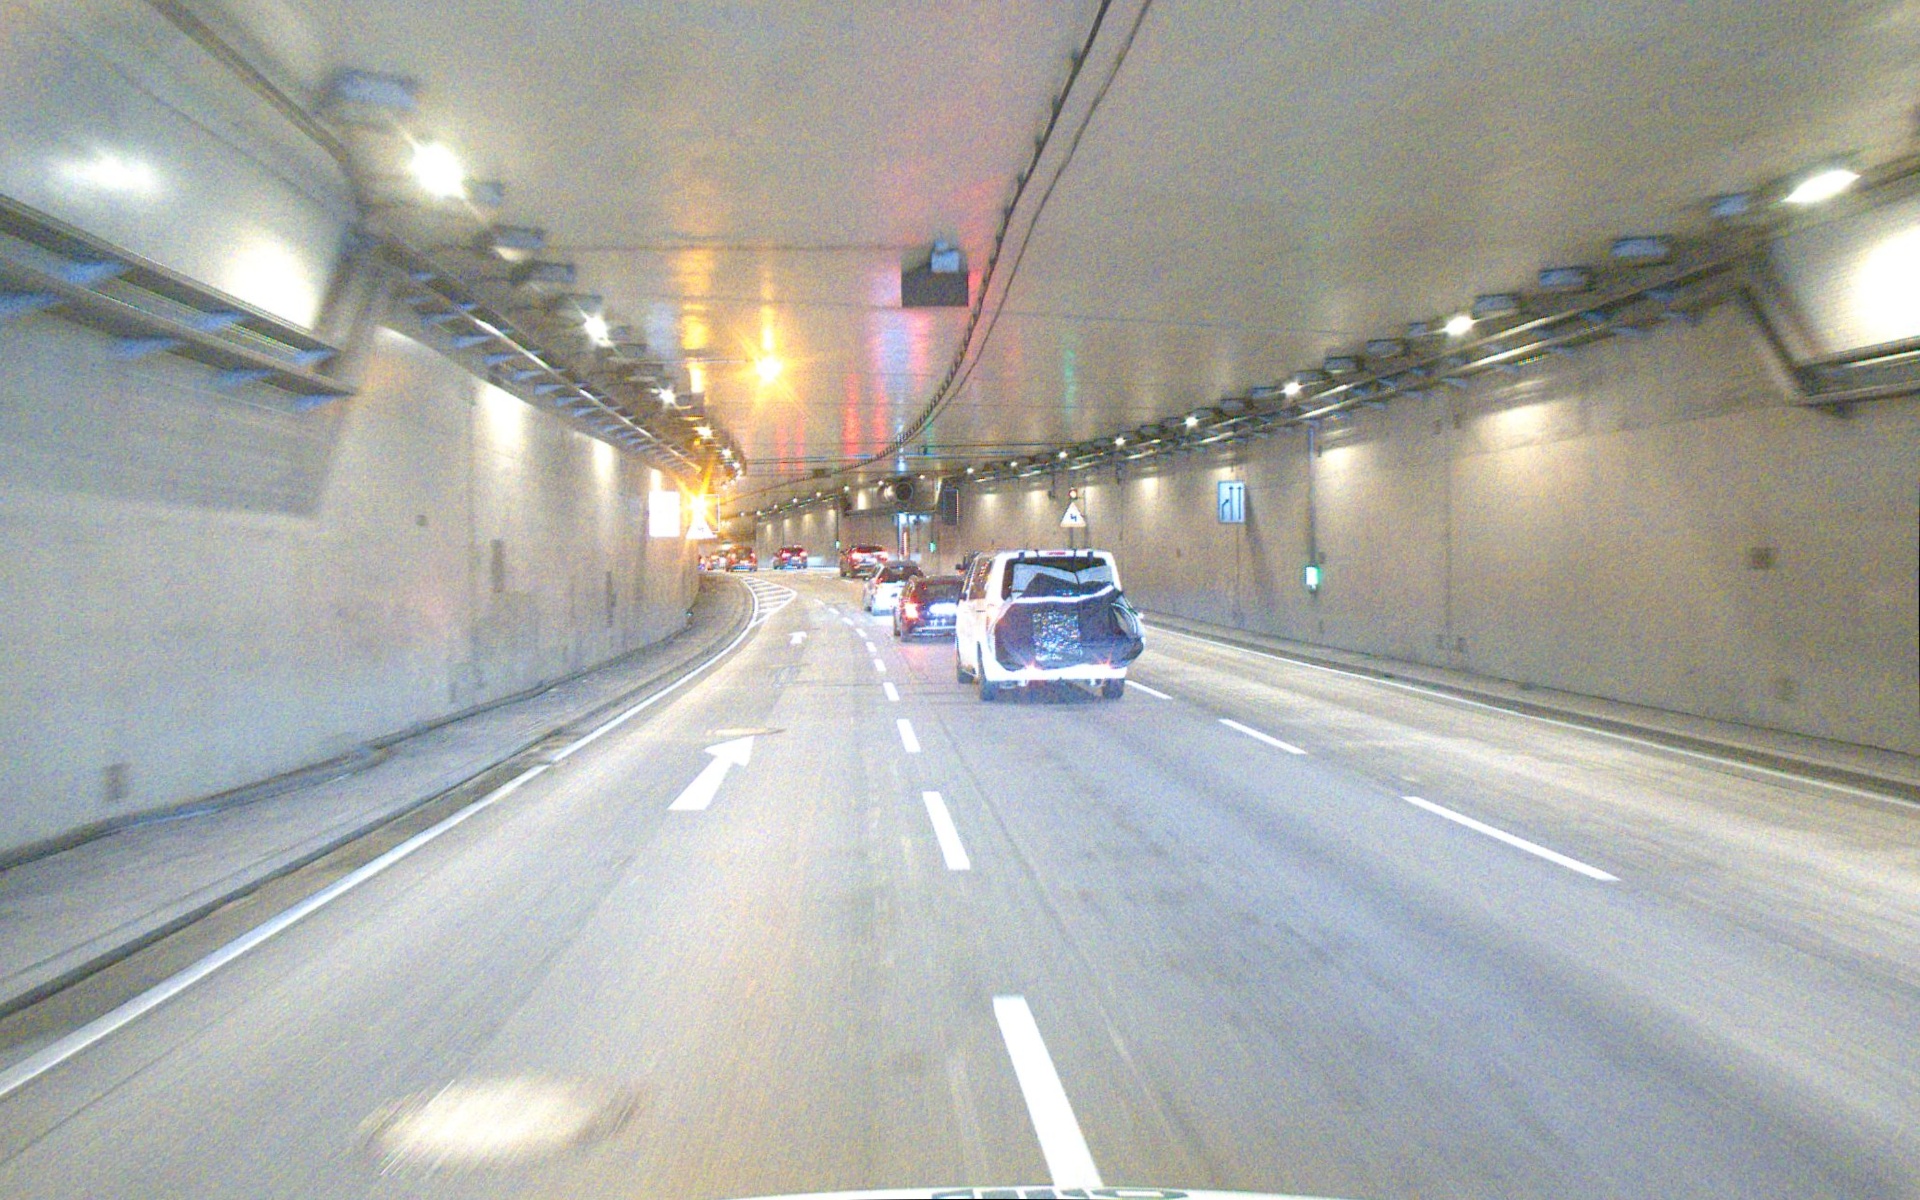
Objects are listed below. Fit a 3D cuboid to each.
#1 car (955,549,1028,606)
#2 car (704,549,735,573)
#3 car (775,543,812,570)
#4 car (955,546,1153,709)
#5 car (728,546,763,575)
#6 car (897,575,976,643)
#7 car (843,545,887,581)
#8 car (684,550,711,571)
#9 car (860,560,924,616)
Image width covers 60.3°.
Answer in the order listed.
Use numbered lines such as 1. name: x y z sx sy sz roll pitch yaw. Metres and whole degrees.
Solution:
1. car: 0.980 -0.698 53.841 1.837 1.792 3.993 0 0 -7
2. car: -17.099 -2.747 117.440 1.792 1.659 3.829 0 0 -15
3. car: -10.573 -2.741 104.702 1.791 1.659 3.830 0 0 -14
4. car: 1.091 0.267 21.835 1.954 1.879 5.297 0 1 -4
5. car: -13.042 -2.369 100.429 1.790 1.659 3.832 0 0 -12
6. car: -0.561 0.162 36.767 1.571 1.419 3.275 0 1 -4
7. car: -4.593 -1.745 79.679 1.575 1.659 3.344 0 0 -13
8. car: -21.802 -3.234 137.291 1.792 1.659 3.828 0 0 -15
9. car: -2.091 -0.398 50.075 1.573 1.621 3.349 -1 1 -9
